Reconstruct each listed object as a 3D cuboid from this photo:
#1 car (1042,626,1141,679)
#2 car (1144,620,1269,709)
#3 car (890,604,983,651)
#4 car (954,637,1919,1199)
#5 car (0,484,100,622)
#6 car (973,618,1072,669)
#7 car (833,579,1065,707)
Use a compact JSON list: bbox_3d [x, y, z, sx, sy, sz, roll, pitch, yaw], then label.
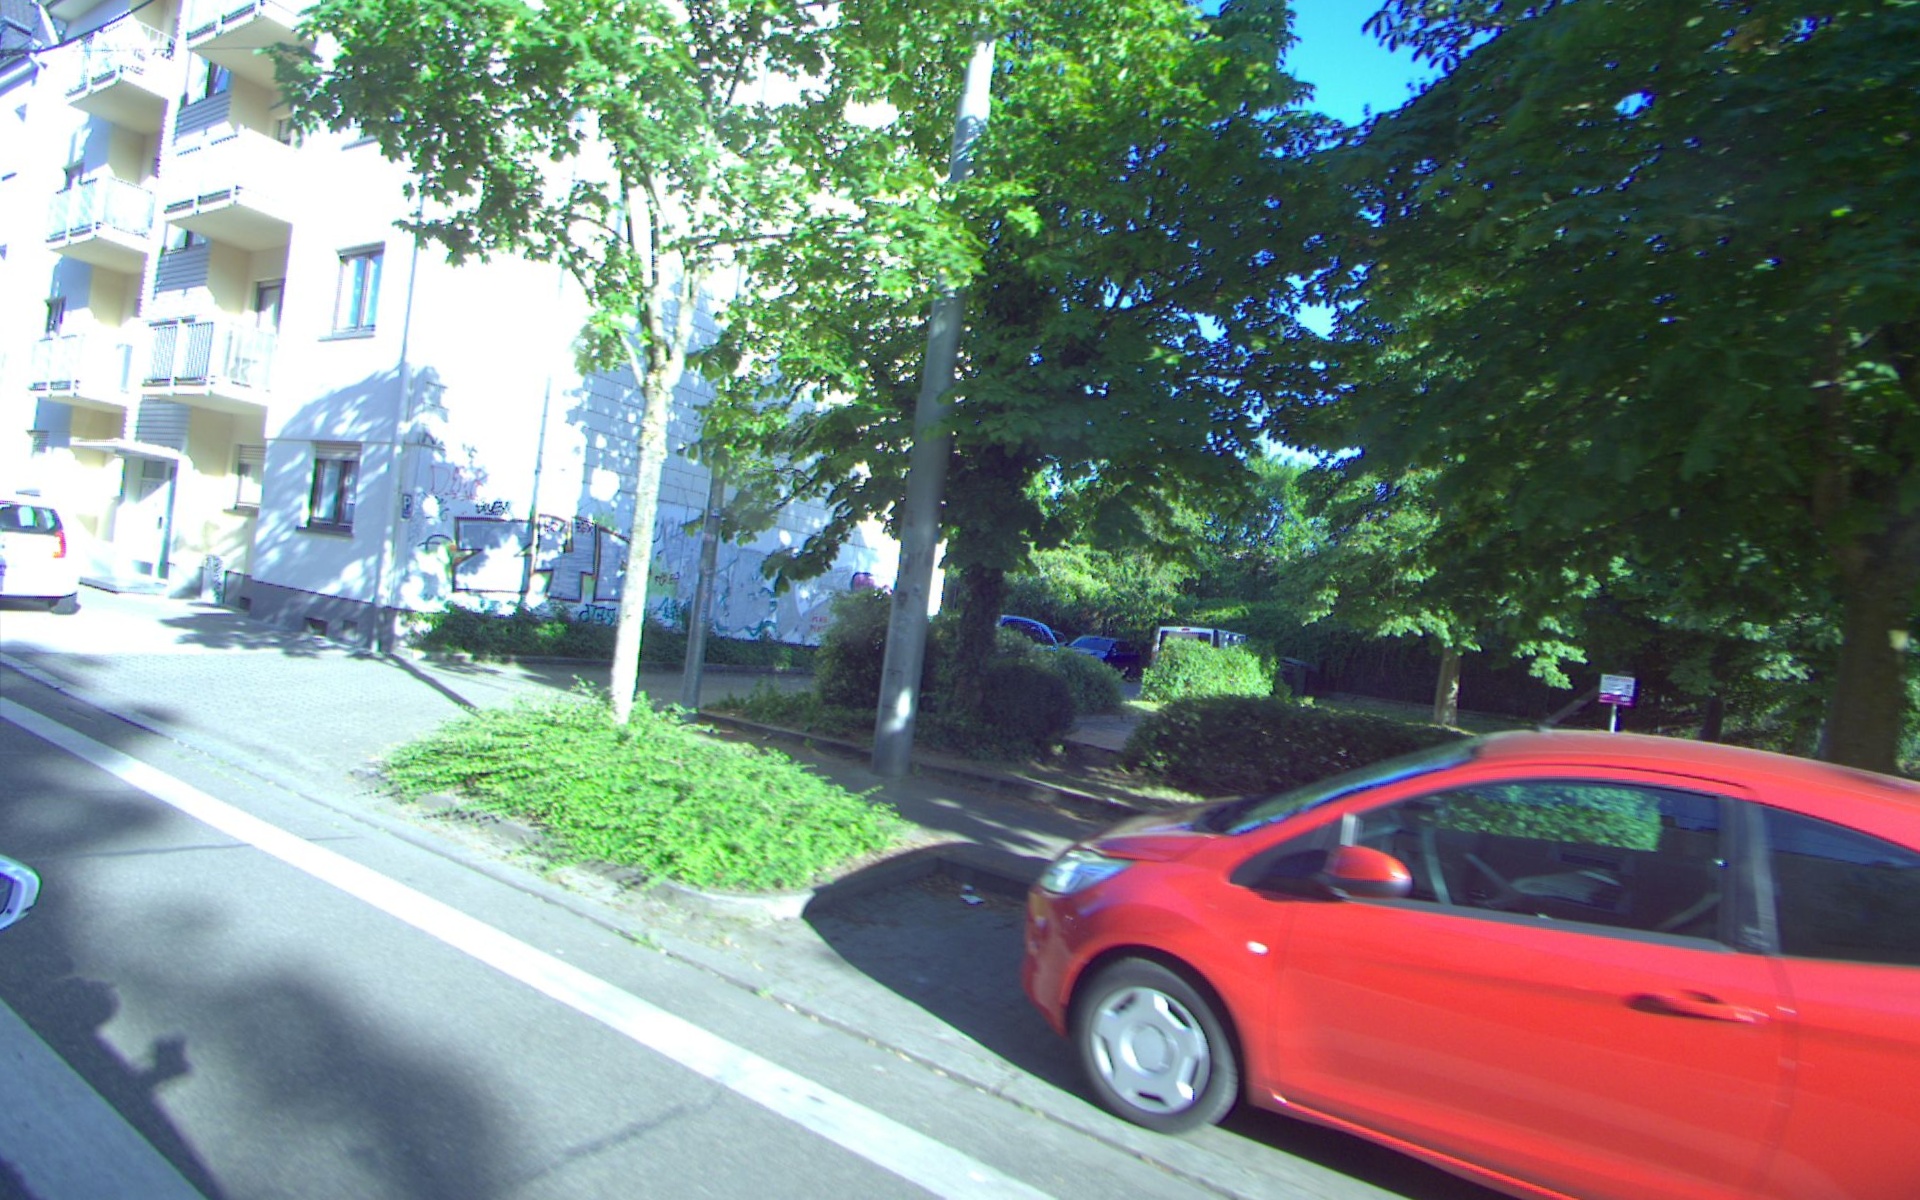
[{"bbox_3d":[4.605,1.856,34.849,1.862,1.504,3.993,7,0,30],"label":"car"},{"bbox_3d":[6.989,1.859,28.115,1.966,2.005,4.827,7,-2,30],"label":"car"},{"bbox_3d":[-0.894,1.138,40.988,1.862,1.504,3.993,7,0,30],"label":"car"},{"bbox_3d":[1.882,1.102,3.501,3.341,1.528,1.636,7,2,32],"label":"car"},{"bbox_3d":[-13.054,-0.768,13.156,3.441,1.589,1.659,7,-2,32],"label":"car"},{"bbox_3d":[2.342,1.622,36.566,1.862,1.504,3.993,7,0,30],"label":"car"},{"bbox_3d":[-0.033,0.799,16.786,1.861,1.642,4.160,7,-2,30],"label":"car"}]
